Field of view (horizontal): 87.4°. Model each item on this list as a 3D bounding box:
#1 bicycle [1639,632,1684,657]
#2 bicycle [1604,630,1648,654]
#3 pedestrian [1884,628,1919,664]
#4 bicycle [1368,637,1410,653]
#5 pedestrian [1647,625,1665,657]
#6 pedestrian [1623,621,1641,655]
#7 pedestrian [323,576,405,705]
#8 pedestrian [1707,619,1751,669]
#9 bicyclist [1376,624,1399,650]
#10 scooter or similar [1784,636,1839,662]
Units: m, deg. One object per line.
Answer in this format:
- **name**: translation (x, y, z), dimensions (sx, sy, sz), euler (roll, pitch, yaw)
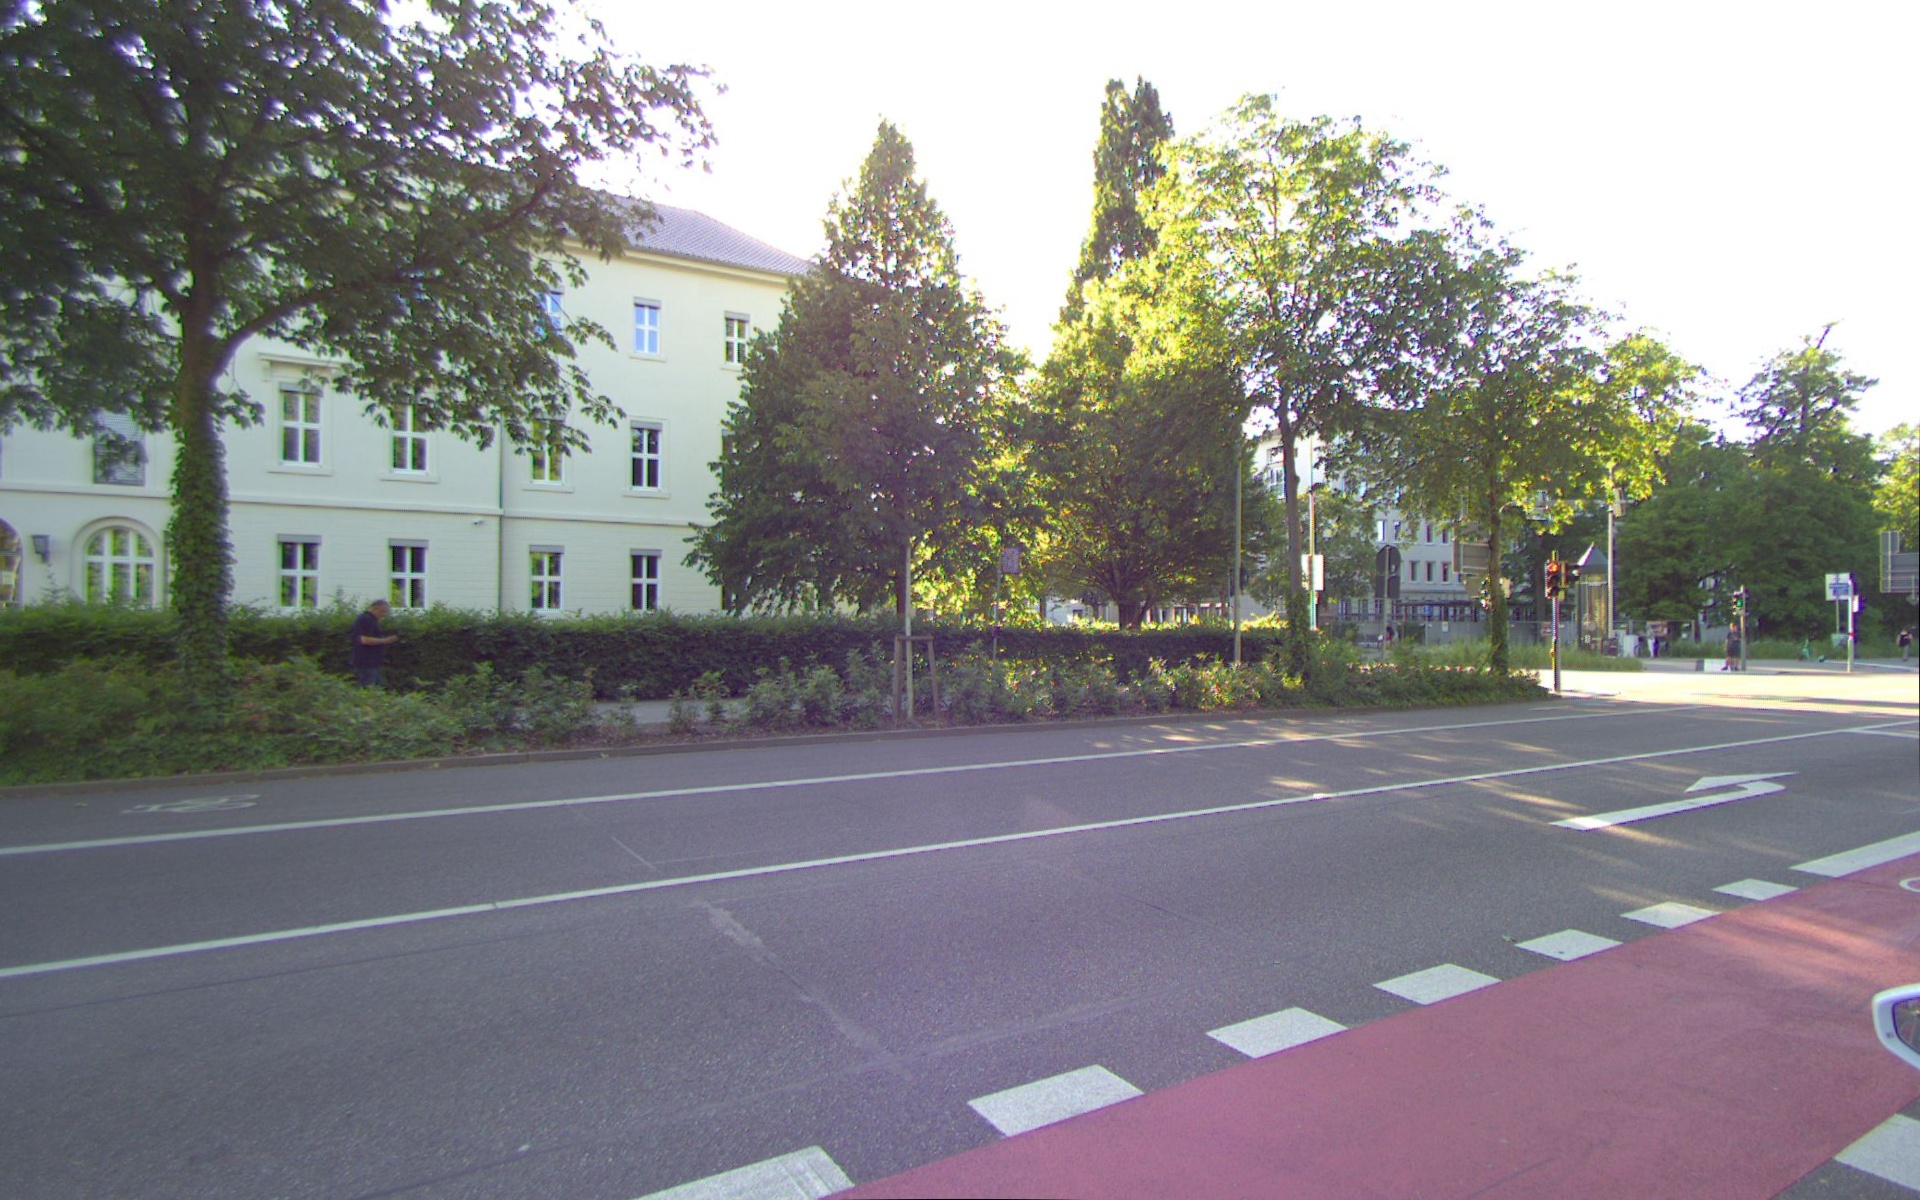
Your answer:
- **bicycle**: translation (34.929, 2.204, 50.025), dimensions (0.288, 1.163, 1.849), euler (1, -1, -36)
- **bicycle**: translation (34.283, 2.175, 51.752), dimensions (0.439, 1.163, 1.849), euler (1, -1, -36)
- **pedestrian**: translation (44.008, 2.134, 46.911), dimensions (0.992, 1.624, 1.080), euler (1, -2, -36)
- **bicycle**: translation (27.112, 2.820, 63.561), dimensions (0.574, 1.002, 2.695), euler (1, -2, -28)
- **pedestrian**: translation (34.542, 2.036, 49.882), dimensions (0.442, 1.601, 0.624), euler (1, 0, -39)
- **pedestrian**: translation (34.284, 1.937, 51.244), dimensions (0.442, 1.664, 0.624), euler (1, 0, -39)
- **pedestrian**: translation (-8.362, 0.565, 14.136), dimensions (0.956, 1.743, 0.831), euler (1, -2, -29)
- **pedestrian**: translation (31.856, 1.808, 41.625), dimensions (1.175, 2.040, 0.992), euler (1, 0, -25)
- **bicyclist**: translation (27.074, 2.321, 63.637), dimensions (0.867, 1.627, 0.970), euler (1, -2, -29)
- **scooter or similar**: translation (39.544, 2.264, 46.672), dimensions (1.882, 1.139, 0.713), euler (1, 0, 3)
